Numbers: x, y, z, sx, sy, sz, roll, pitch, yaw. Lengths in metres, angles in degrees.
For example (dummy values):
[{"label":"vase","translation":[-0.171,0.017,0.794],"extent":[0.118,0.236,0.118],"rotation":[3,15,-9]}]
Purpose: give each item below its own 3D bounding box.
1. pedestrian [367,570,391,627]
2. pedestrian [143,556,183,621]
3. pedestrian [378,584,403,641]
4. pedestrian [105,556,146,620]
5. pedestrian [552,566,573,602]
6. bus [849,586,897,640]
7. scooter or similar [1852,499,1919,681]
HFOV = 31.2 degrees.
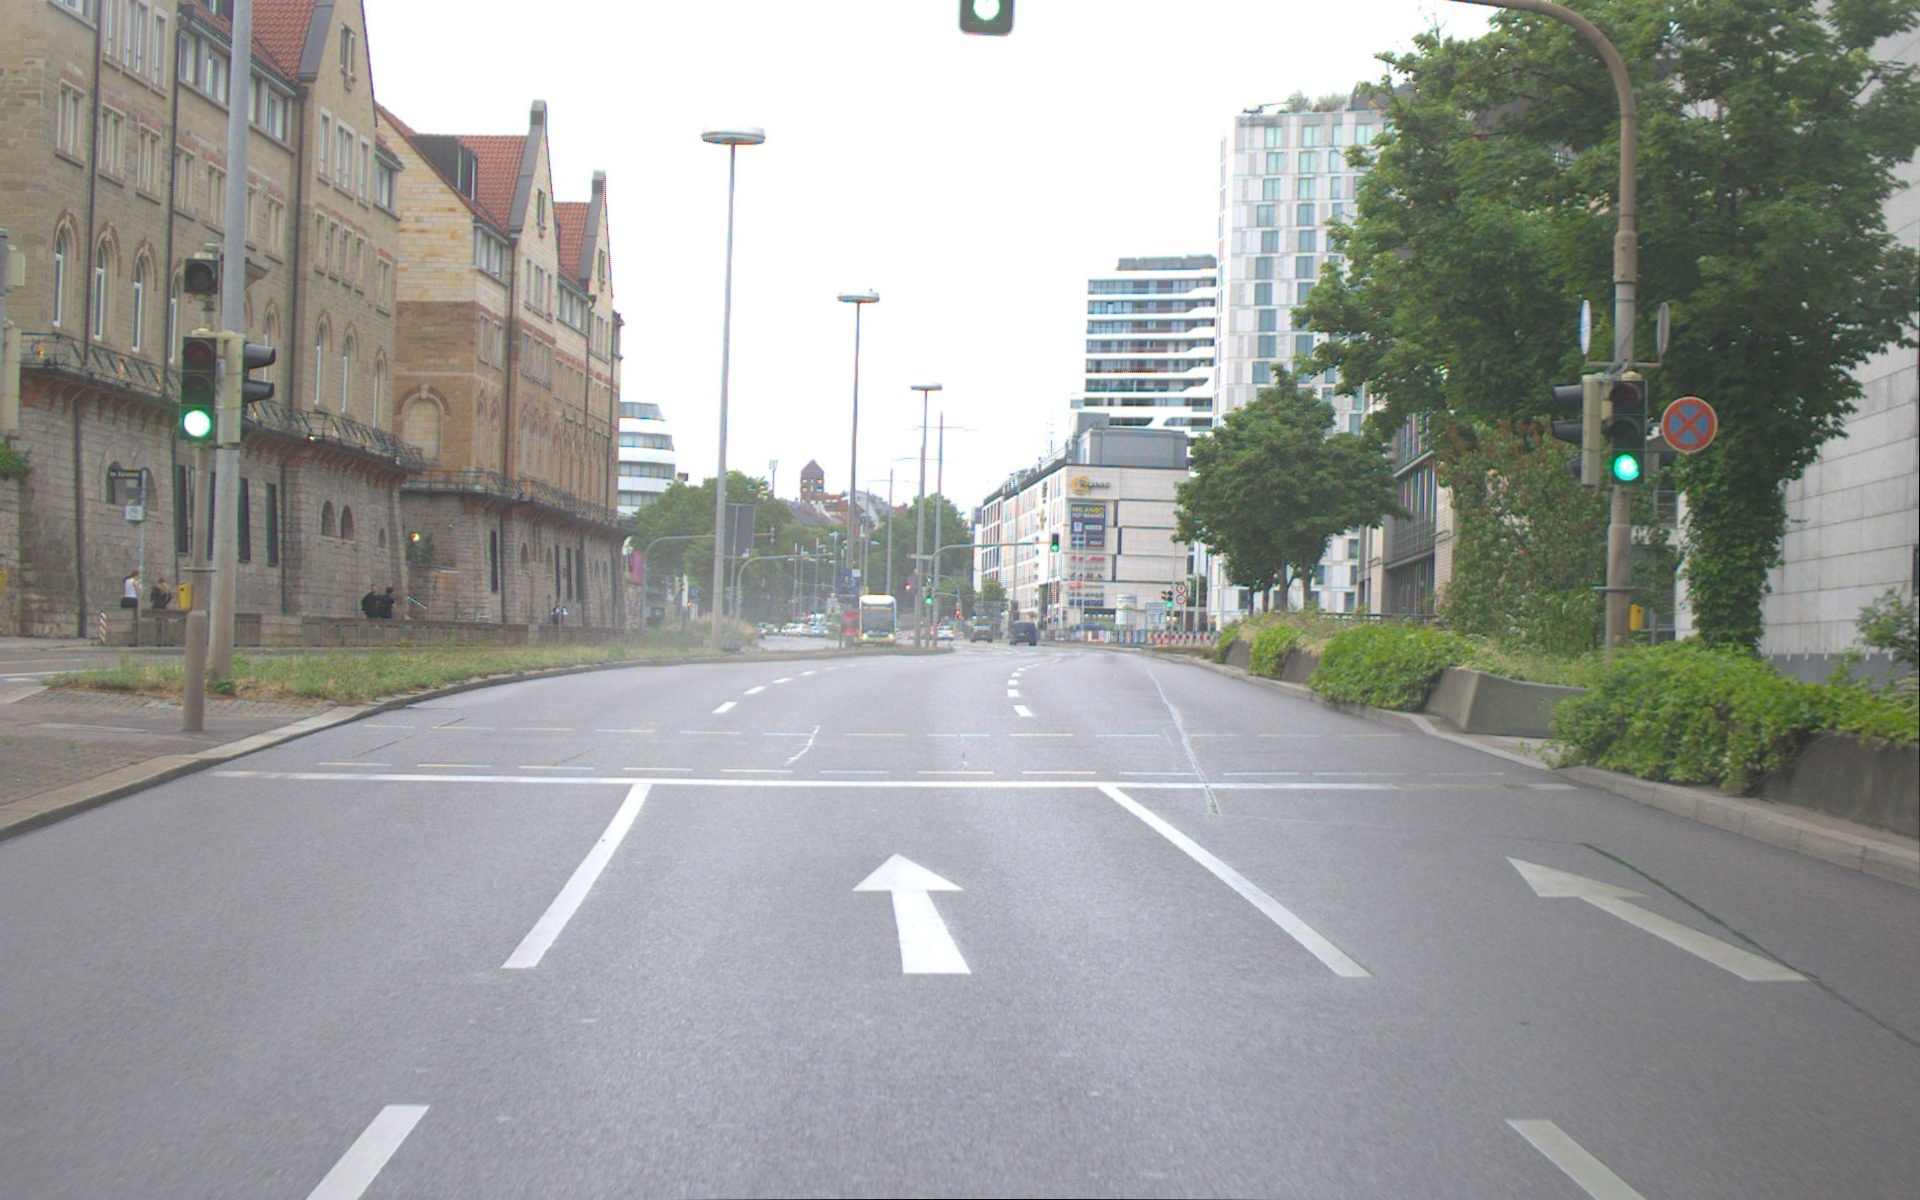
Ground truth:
[{"label":"pedestrian","translation":[-17.949,-0.041,106.232],"extent":[0.640,1.740,0.621],"rotation":[0,1,0]},{"label":"pedestrian","translation":[-18.382,-0.273,79.297],"extent":[0.754,1.473,0.714],"rotation":[0,1,2]},{"label":"pedestrian","translation":[-17.292,0.377,104.422],"extent":[0.640,1.740,0.621],"rotation":[0,1,0]},{"label":"pedestrian","translation":[-19.250,-0.276,79.290],"extent":[0.754,1.473,0.714],"rotation":[0,1,2]},{"label":"pedestrian","translation":[-16.366,-0.662,141.548],"extent":[0.754,1.473,0.714],"rotation":[0,1,2]},{"label":"bus","translation":[-5.898,0.927,234.646],"extent":[2.698,3.547,10.092],"rotation":[0,-1,2]},{"label":"scooter or similar","translation":[8.358,-0.073,29.313],"extent":[1.323,1.525,0.502],"rotation":[2,1,4]}]
